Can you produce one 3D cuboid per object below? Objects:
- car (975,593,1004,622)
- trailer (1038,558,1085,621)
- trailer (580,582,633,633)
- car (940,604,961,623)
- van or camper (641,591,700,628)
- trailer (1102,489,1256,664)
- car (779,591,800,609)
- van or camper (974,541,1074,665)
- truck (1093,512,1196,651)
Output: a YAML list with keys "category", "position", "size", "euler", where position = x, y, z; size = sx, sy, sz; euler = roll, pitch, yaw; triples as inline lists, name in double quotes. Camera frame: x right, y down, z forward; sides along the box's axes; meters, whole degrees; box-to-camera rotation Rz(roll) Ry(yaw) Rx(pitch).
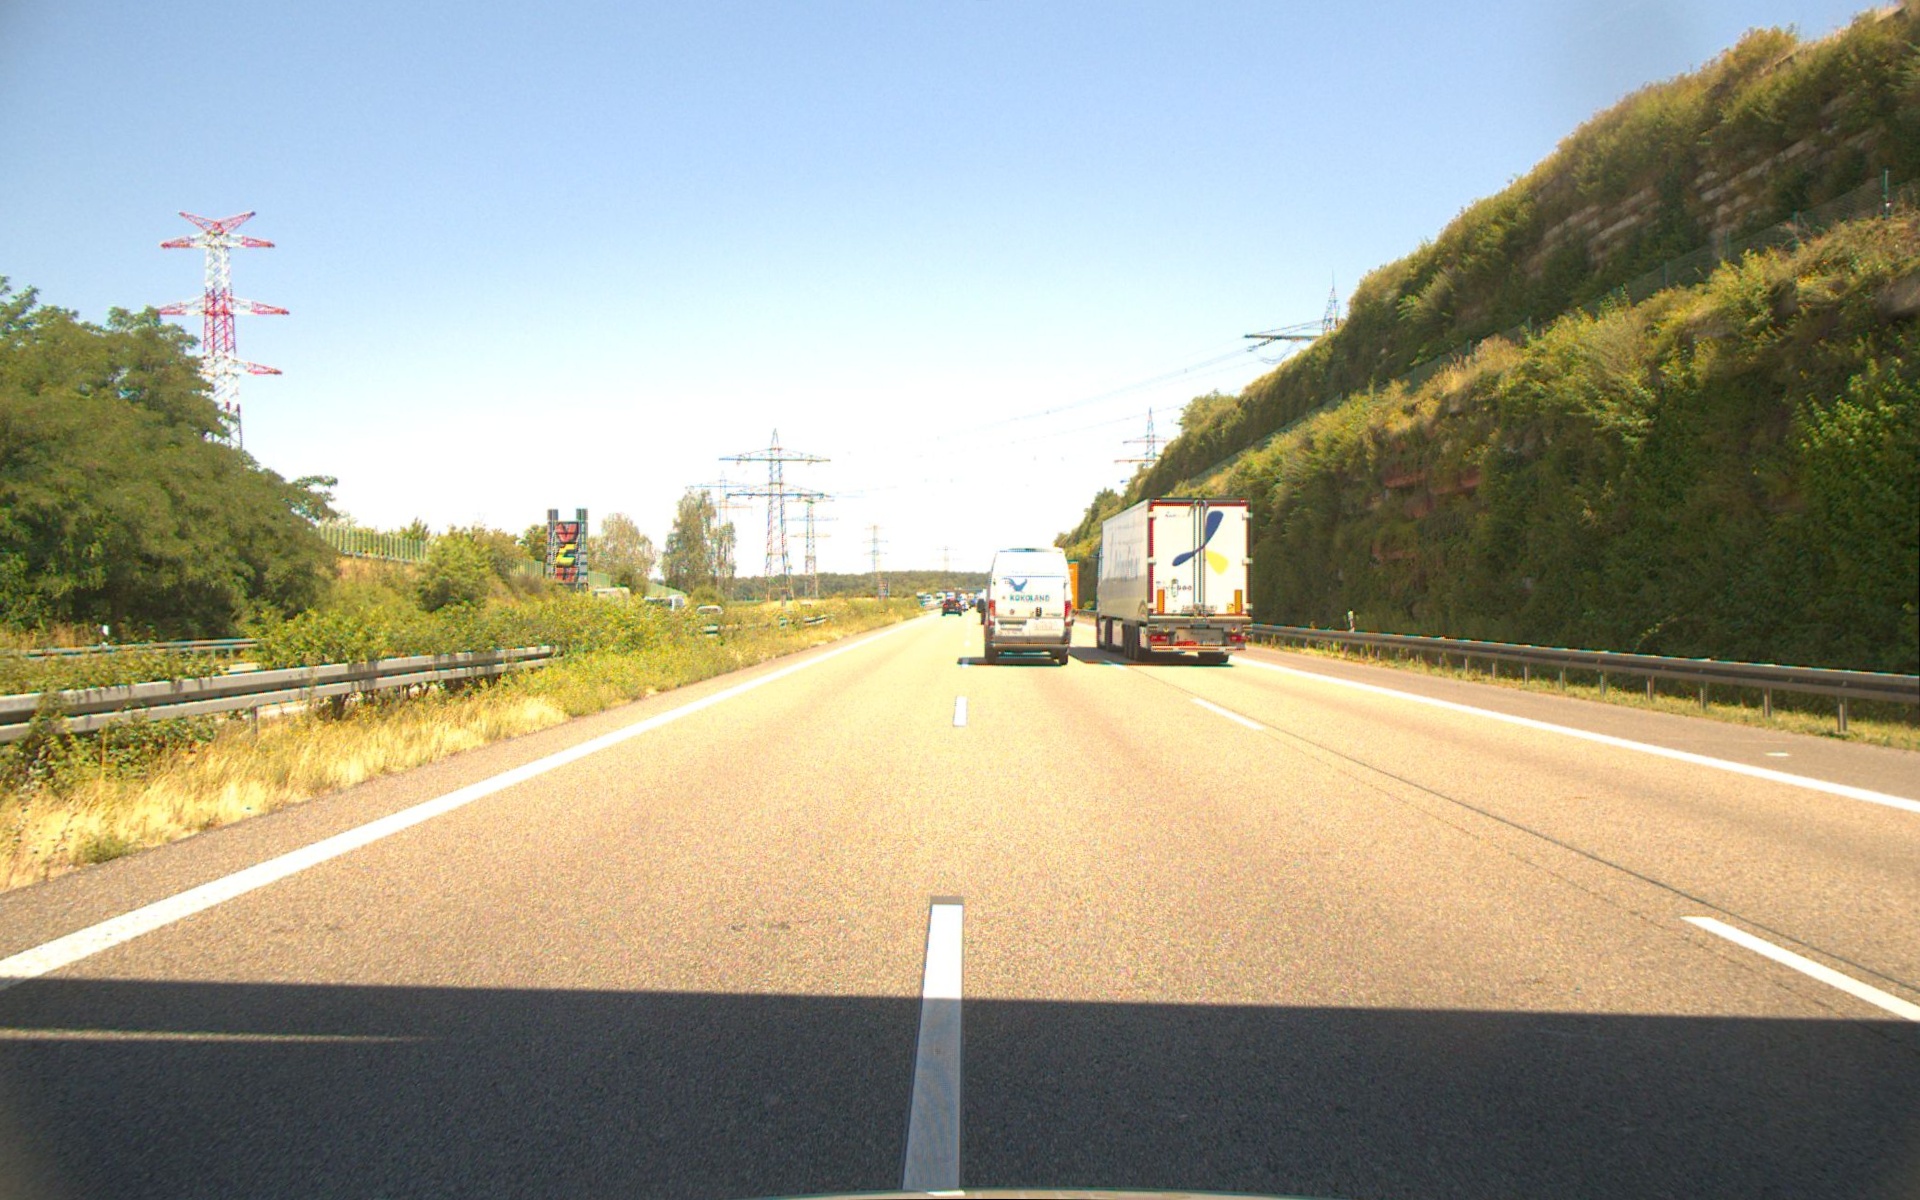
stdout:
- category: "car"
  position: [1.916, 0.460, 108.890]
  size: [1.759, 1.848, 3.800]
  euler: [1, 0, -1]
- category: "trailer"
  position: [6.682, -0.680, 109.695]
  size: [2.583, 3.965, 7.068]
  euler: [1, 0, 0]
- category: "trailer"
  position: [-19.099, 0.394, 89.531]
  size: [1.763, 2.664, 4.408]
  euler: [1, 0, 2]
- category: "car"
  position: [-0.953, 1.350, 165.622]
  size: [1.941, 1.848, 3.813]
  euler: [1, 0, 1]
- category: "van or camper"
  position: [-14.689, 0.451, 84.135]
  size: [1.925, 1.796, 5.213]
  euler: [1, 0, 2]
- category: "trailer"
  position: [5.778, -0.591, 45.804]
  size: [2.583, 4.131, 12.366]
  euler: [1, 0, 0]
- category: "car"
  position: [-19.857, -0.046, 192.443]
  size: [1.927, 2.043, 4.402]
  euler: [1, 0, -1]
- category: "van or camper"
  position: [1.518, 0.056, 41.329]
  size: [2.185, 2.831, 5.422]
  euler: [1, 0, -1]
- category: "truck"
  position: [5.818, -0.569, 52.872]
  size: [2.583, 4.131, 5.800]
  euler: [1, 0, 0]
